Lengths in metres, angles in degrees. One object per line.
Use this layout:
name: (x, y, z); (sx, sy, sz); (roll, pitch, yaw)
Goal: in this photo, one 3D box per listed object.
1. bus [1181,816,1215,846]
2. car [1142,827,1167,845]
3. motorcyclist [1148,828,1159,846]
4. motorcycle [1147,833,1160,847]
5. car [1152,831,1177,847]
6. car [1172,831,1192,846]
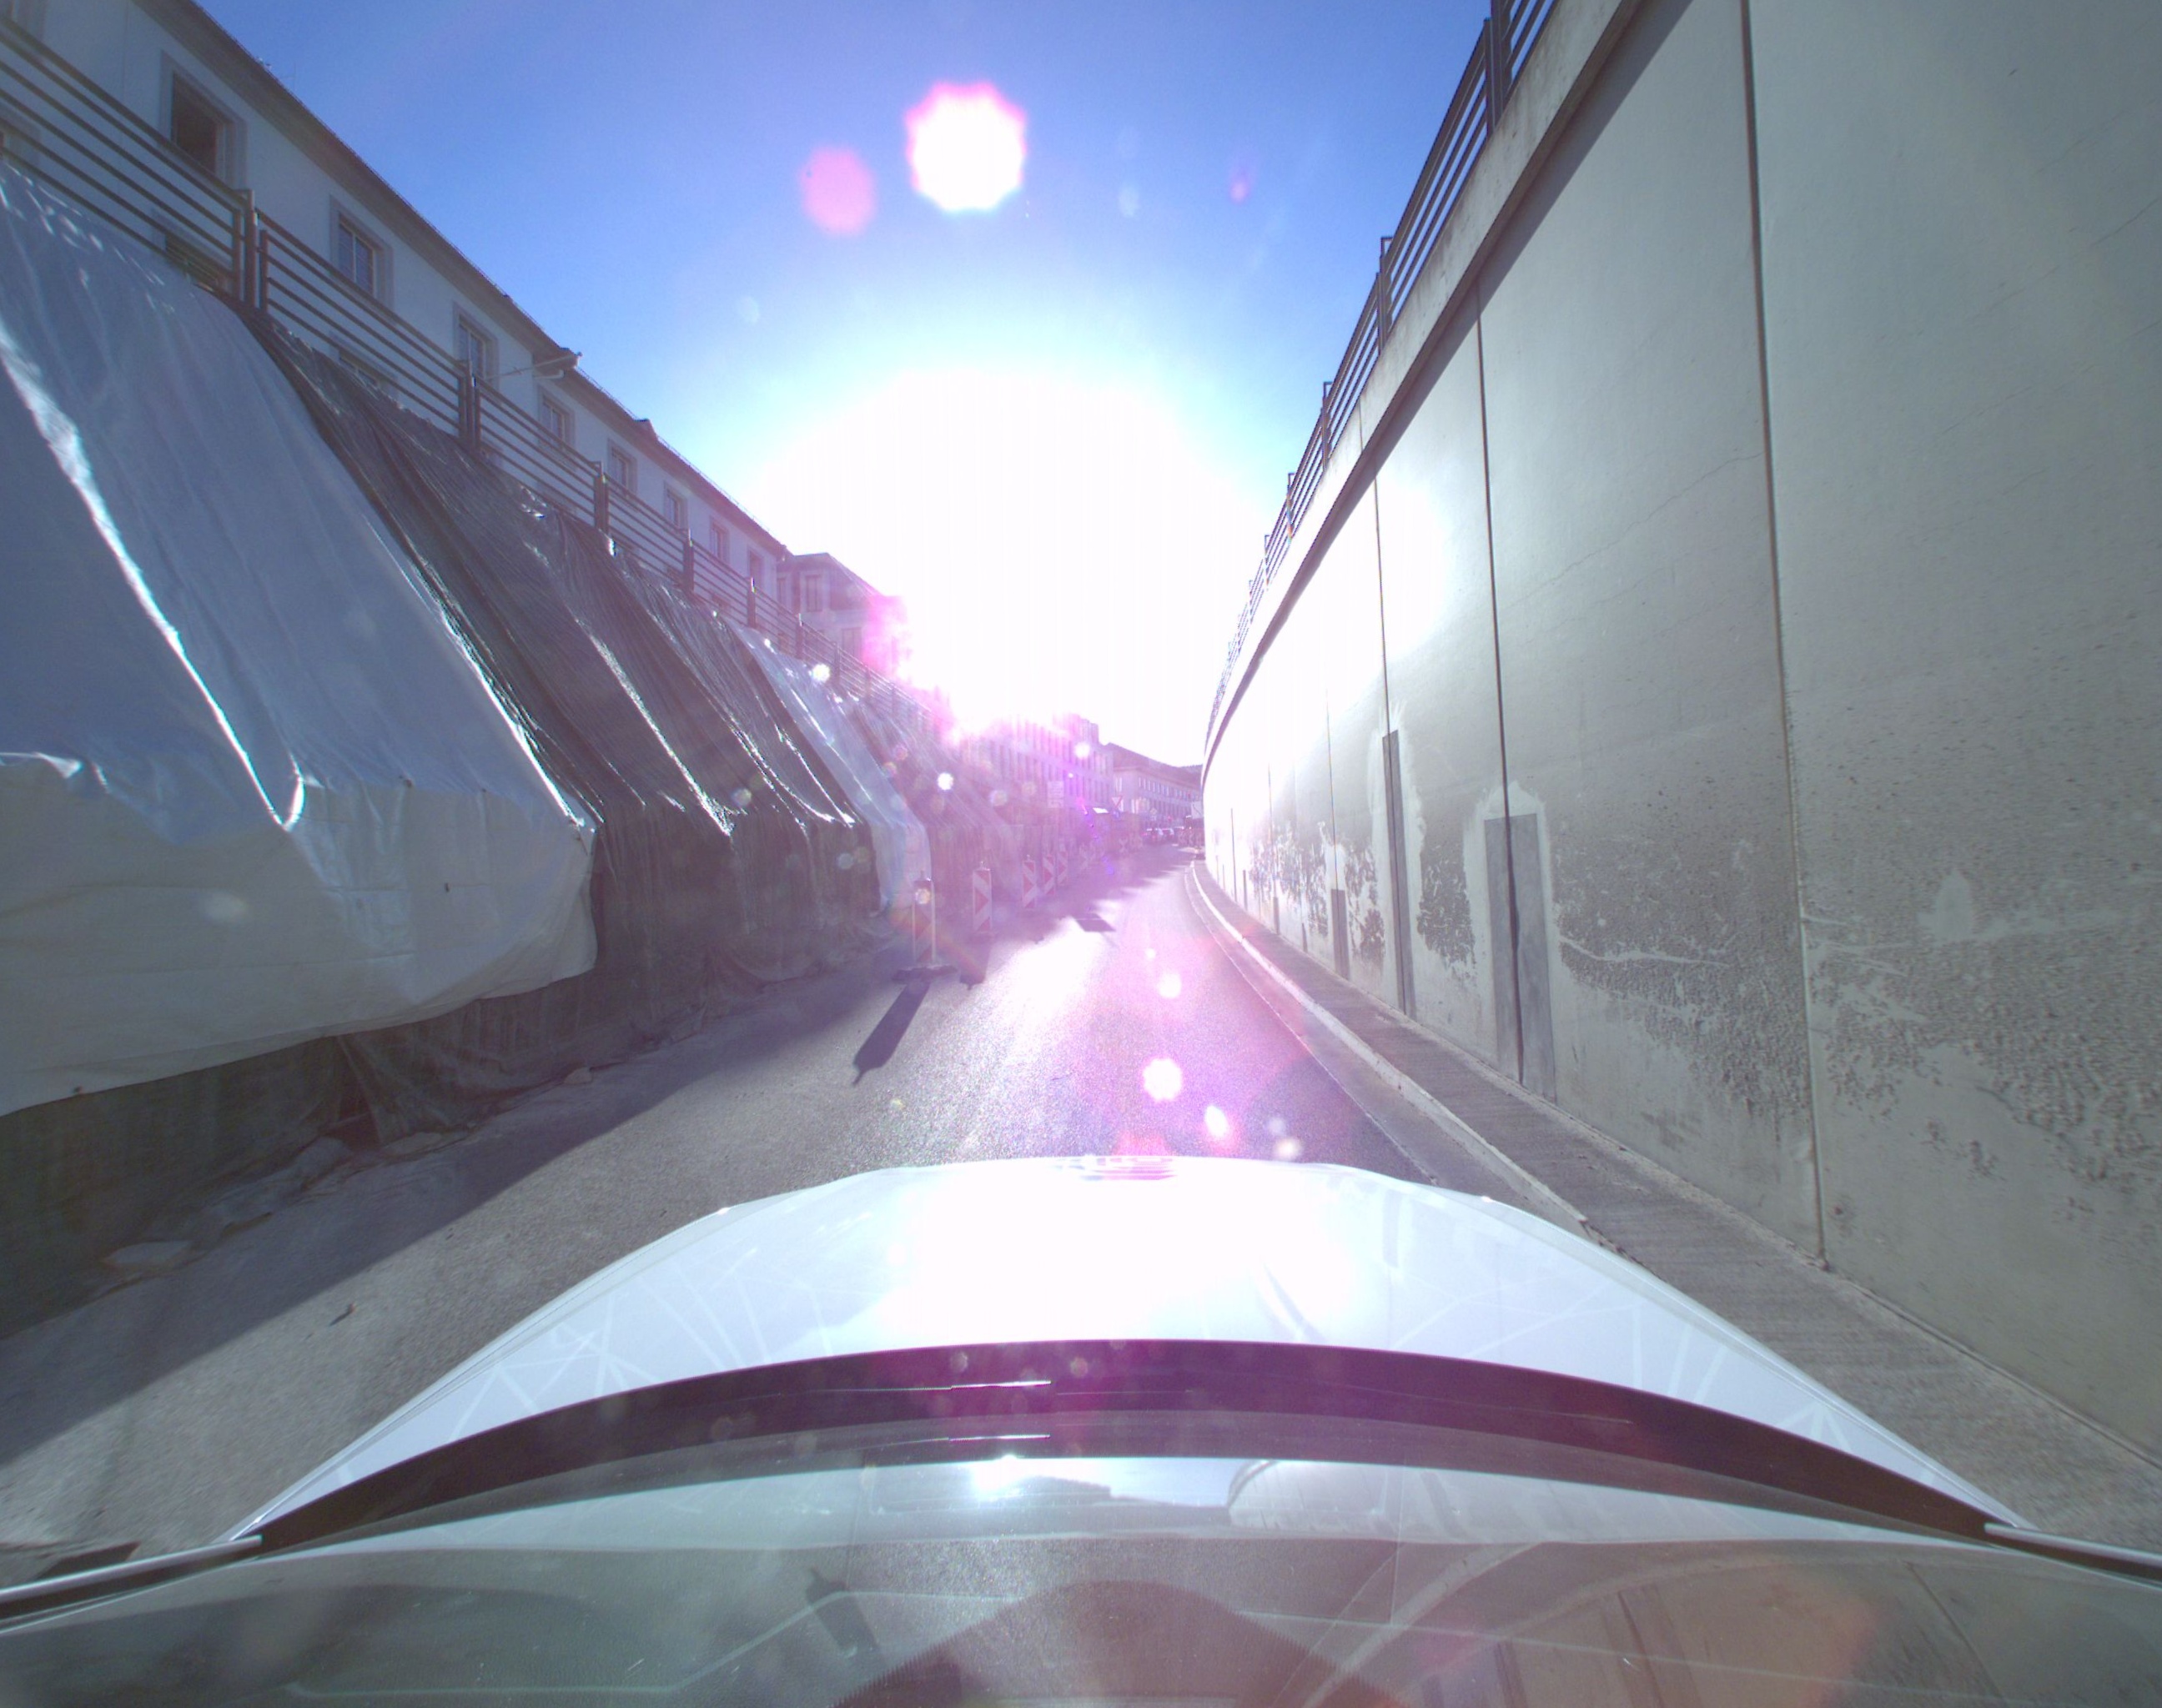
bus: (10.381, -2.048, 72.019); (2.207, 2.557, 4.447); (-1, 1, 17)
car: (6.845, -1.700, 75.627); (1.763, 1.604, 4.015); (-1, 1, 14)
motorcyclist: (6.148, -1.447, 68.848); (0.799, 1.504, 0.779); (-1, -2, 11)
motorcycle: (6.143, -1.178, 68.835); (0.766, 0.993, 2.190); (-1, -2, 12)
car: (8.409, -1.478, 81.740); (1.807, 1.533, 4.016); (-1, 1, 15)
car: (11.117, -1.716, 89.299); (1.844, 1.533, 4.014); (-1, 1, 12)
